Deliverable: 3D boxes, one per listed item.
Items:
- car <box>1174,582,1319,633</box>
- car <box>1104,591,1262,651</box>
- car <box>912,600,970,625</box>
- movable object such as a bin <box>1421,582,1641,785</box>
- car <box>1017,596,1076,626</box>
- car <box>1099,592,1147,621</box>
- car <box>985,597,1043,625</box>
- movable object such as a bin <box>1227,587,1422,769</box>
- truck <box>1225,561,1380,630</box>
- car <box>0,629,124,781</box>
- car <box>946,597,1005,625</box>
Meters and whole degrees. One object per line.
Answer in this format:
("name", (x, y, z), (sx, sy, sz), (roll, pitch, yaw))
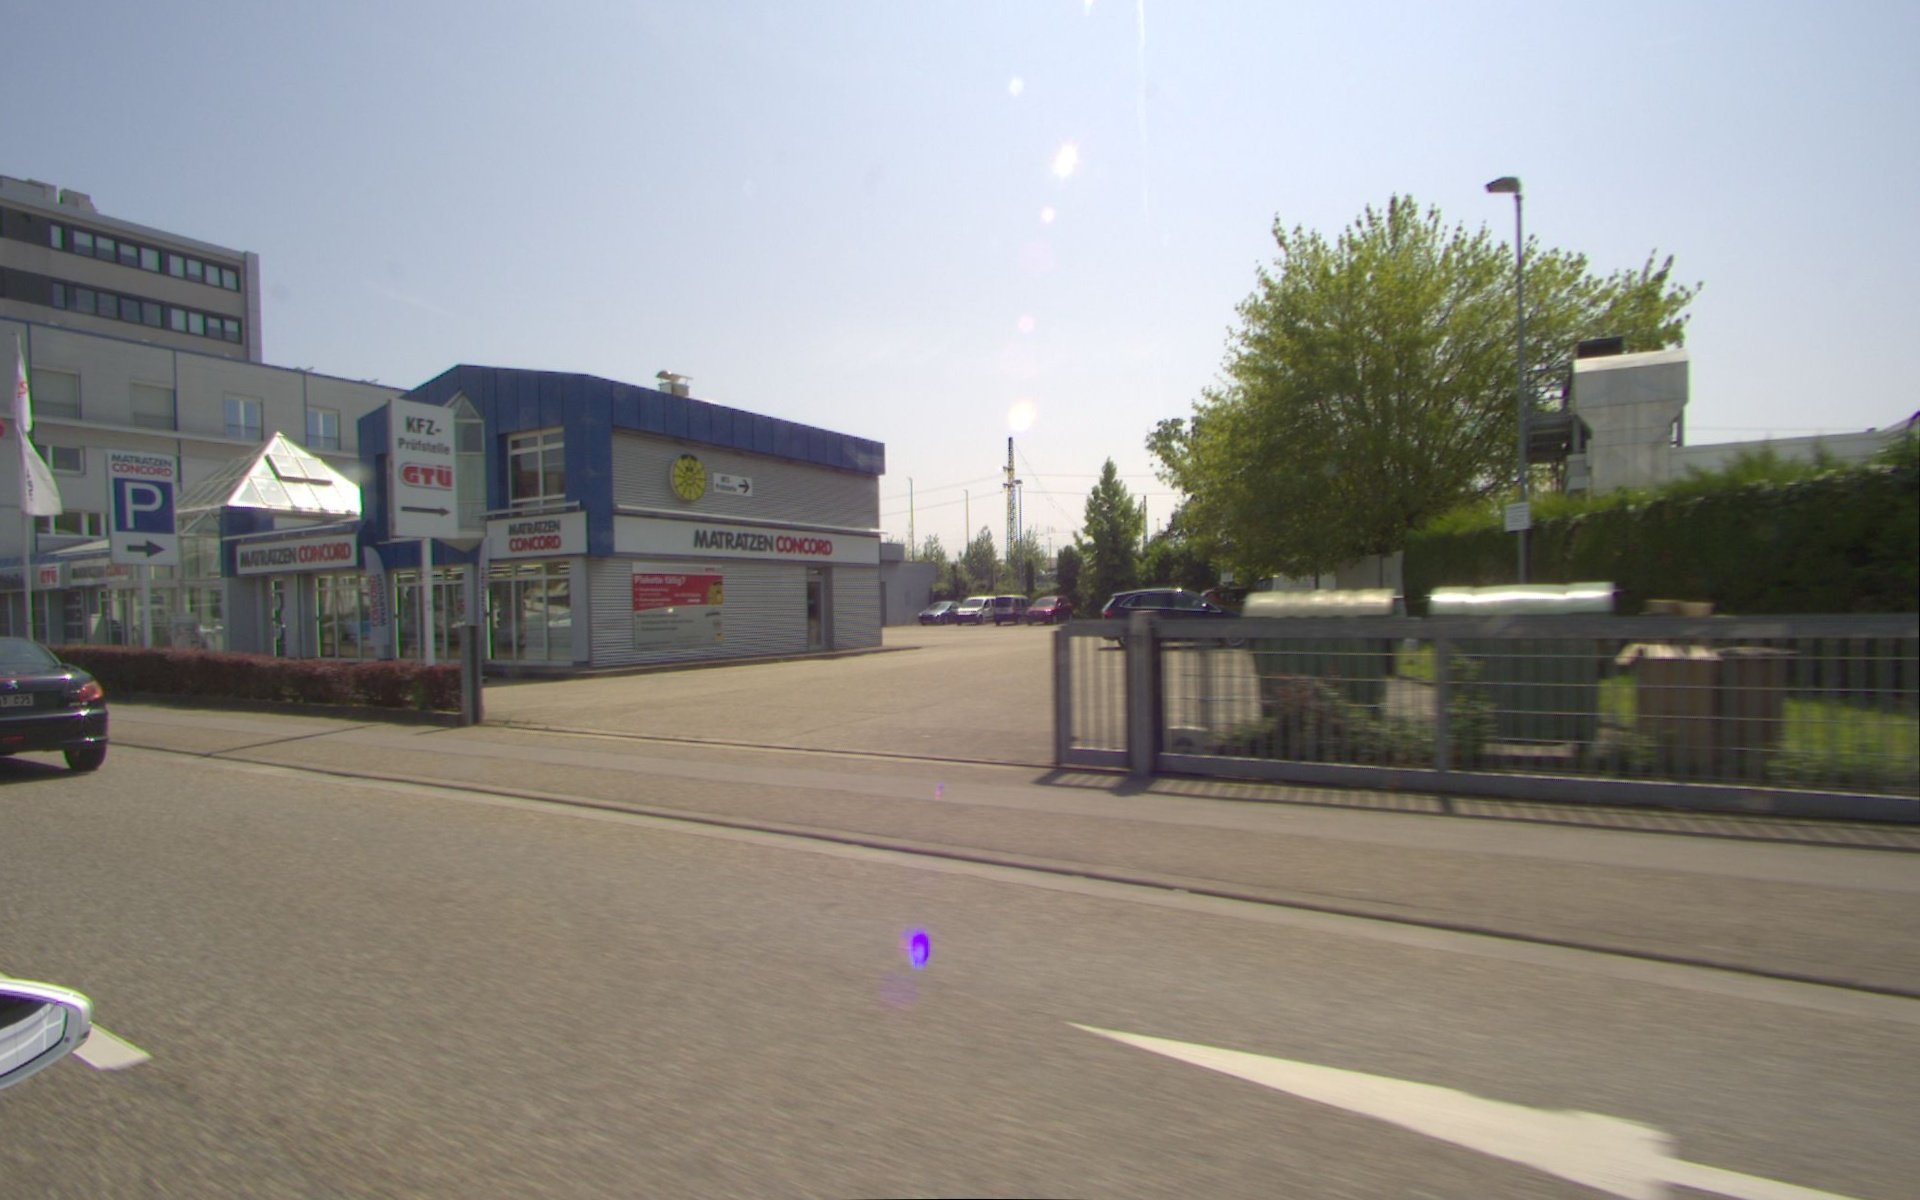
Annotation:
("car", (9.642, 0.248, 34.013), (4.453, 1.645, 1.999), (-1, 1, 7))
("car", (5.843, 0.543, 26.408), (3.925, 1.491, 1.515), (-1, 1, 13))
("car", (-1.192, 0.797, 64.617), (1.971, 1.550, 3.979), (-1, 0, 31))
("movable object such as a bin", (4.646, 0.618, 8.205), (1.467, 1.490, 1.128), (-1, 1, 31))
("car", (5.291, 0.652, 60.900), (1.971, 1.706, 3.979), (-1, 0, 31))
("car", (9.644, 0.372, 58.971), (1.591, 1.543, 3.626), (-2, 0, 29))
("car", (3.416, 0.673, 62.423), (1.971, 1.629, 3.979), (-1, 0, 31))
("movable object such as a bin", (3.302, 0.640, 9.040), (1.467, 1.490, 1.128), (-1, 1, 31))
("truck", (15.901, -0.184, 46.595), (6.532, 3.048, 2.202), (-1, 1, 31))
("car", (-10.368, 1.011, 10.357), (3.553, 1.382, 1.624), (-1, -1, 32))
("car", (1.028, 0.703, 63.705), (1.971, 1.706, 3.979), (-1, 0, 31))
